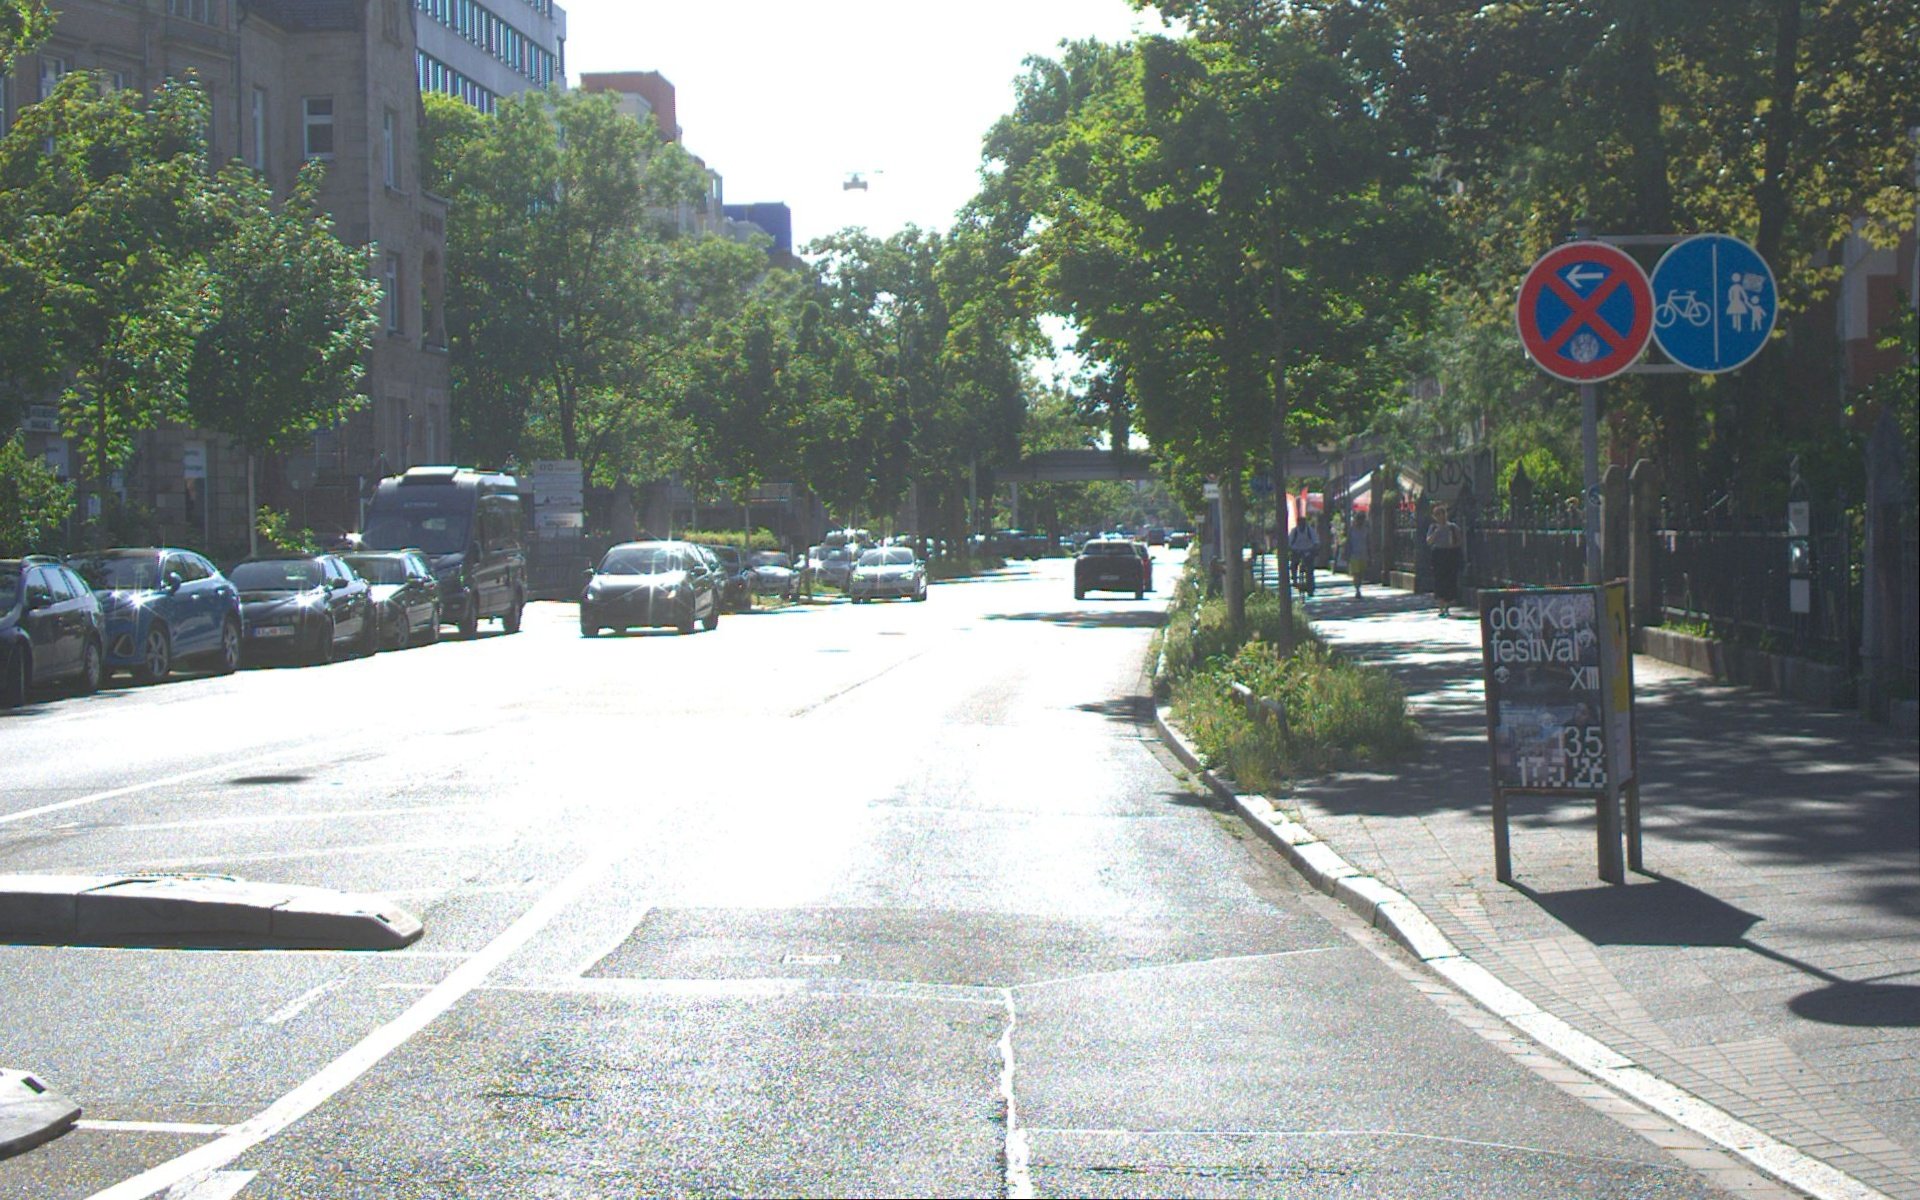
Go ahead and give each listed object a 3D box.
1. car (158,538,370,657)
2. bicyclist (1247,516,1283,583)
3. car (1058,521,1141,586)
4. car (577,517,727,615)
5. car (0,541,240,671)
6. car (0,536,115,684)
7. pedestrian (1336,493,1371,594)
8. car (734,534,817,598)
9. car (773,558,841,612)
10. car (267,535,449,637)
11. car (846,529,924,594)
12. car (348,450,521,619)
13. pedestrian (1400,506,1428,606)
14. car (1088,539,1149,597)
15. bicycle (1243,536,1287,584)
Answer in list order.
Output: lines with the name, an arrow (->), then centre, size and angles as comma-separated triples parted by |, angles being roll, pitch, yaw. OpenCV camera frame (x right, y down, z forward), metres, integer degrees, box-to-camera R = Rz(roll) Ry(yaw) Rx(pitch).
car -> -9.182, 0.002, 45.658 | 1.827, 1.415, 3.999 | 1, -2, 2
bicyclist -> 6.269, -1.035, 70.685 | 0.680, 1.323, 0.636 | 1, -2, -1
car -> 3.569, -1.221, 88.570 | 1.894, 1.514, 4.000 | 2, 2, 0
car -> -4.902, -0.569, 55.189 | 1.639, 1.514, 4.030 | 0, 1, 6
car -> -9.798, 0.035, 40.306 | 1.524, 1.427, 3.553 | 0, 1, 8
car -> -10.019, 0.127, 35.327 | 1.524, 1.428, 3.336 | 1, -2, 6
pedestrian -> 7.913, -1.141, 69.185 | 0.614, 2.007, 0.681 | 0, 1, 0
car -> -4.475, -0.839, 83.789 | 1.802, 1.499, 3.808 | 0, 1, 0
car -> -4.750, -0.455, 107.358 | 1.935, 1.514, 4.030 | 1, -2, 0
car -> -8.874, -0.236, 50.965 | 1.827, 1.415, 4.000 | 0, 1, 2
car -> -1.936, -0.989, 89.991 | 1.935, 1.514, 4.030 | 1, -2, 0
car -> -8.609, -1.092, 56.726 | 1.827, 2.642, 5.161 | 0, 1, 2
pedestrian -> 9.270, -0.901, 70.238 | 0.476, 2.007, 0.492 | 1, -2, 0
car -> 4.828, -0.987, 104.350 | 1.819, 1.734, 4.000 | 0, 1, 3
bicycle -> 6.254, -0.812, 70.621 | 0.675, 0.935, 2.281 | 0, -1, -1
